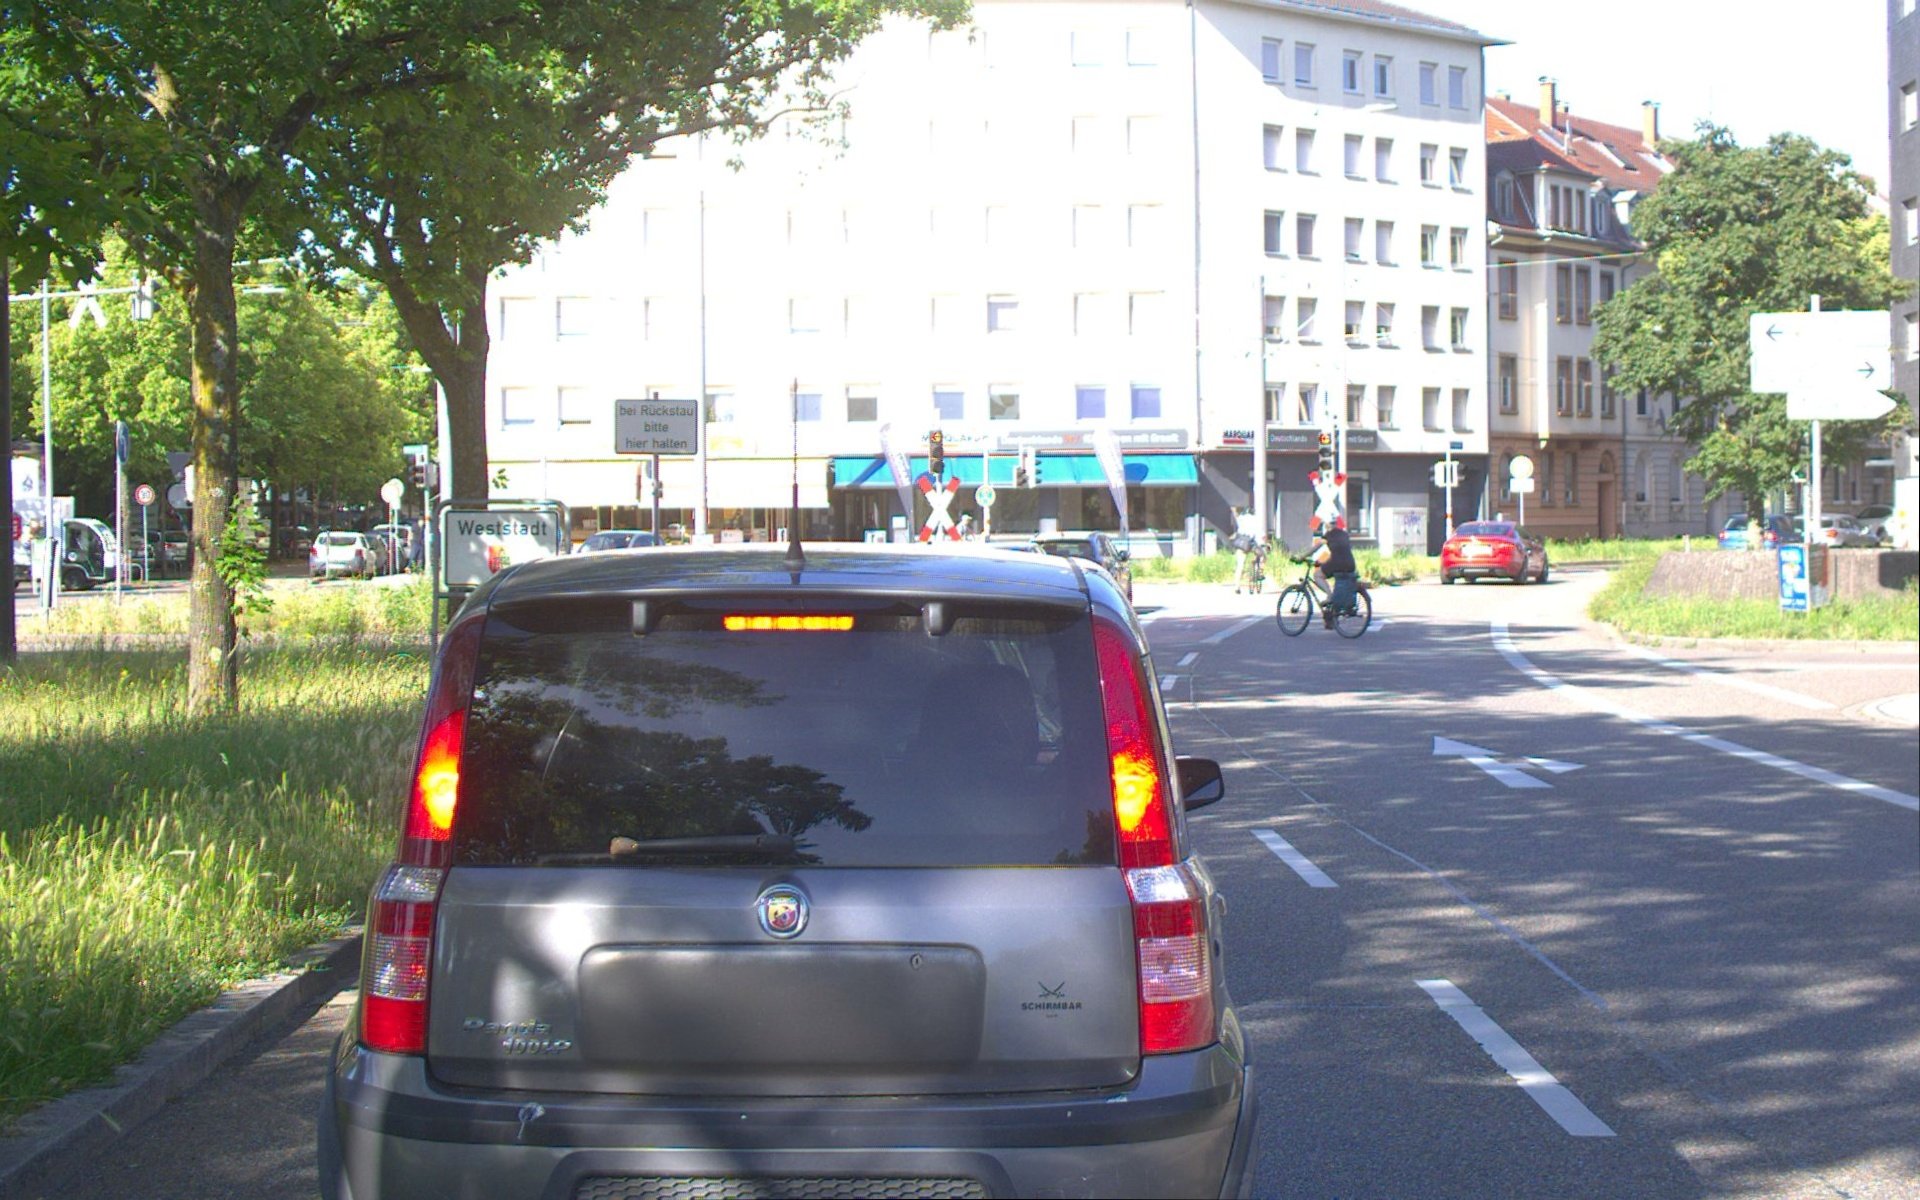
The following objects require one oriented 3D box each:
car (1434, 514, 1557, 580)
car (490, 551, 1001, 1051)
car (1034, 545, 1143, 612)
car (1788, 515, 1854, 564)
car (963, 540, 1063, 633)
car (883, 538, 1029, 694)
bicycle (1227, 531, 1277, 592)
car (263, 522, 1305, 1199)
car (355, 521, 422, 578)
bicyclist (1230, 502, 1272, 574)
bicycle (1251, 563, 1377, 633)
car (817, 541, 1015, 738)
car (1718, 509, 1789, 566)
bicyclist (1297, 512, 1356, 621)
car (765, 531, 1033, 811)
[{"bbox_3d":[12.042,-1.205,77.096,1.889,1.423,4.382,0,1,20],"label":"car"},{"bbox_3d":[-0.639,0.559,11.637,1.463,1.396,3.393,0,1,-1],"label":"car"},{"bbox_3d":[2.171,-0.369,57.667,1.143,1.060,2.719,0,1,17],"label":"car"},{"bbox_3d":[23.554,-1.663,94.017,1.528,1.310,3.285,0,1,18],"label":"car"},{"bbox_3d":[0.749,-0.211,49.599,1.356,1.277,2.876,0,1,-1],"label":"car"},{"bbox_3d":[-0.059,0.122,33.860,1.356,1.444,3.266,-1,1,-1],"label":"car"},{"bbox_3d":[5.905,-0.775,69.578,0.708,1.194,2.520,1,1,-2],"label":"bicycle"},{"bbox_3d":[-0.296,0.597,7.416,1.628,1.503,4.000,-1,1,-1],"label":"car"},{"bbox_3d":[-20.520,-1.842,123.579,1.993,2.007,4.001,-1,1,-4],"label":"car"},{"bbox_3d":[5.884,-1.254,69.614,0.741,1.433,0.845,1,0,-1],"label":"bicyclist"},{"bbox_3d":[4.892,-0.038,47.538,0.558,0.942,1.794,-2,2,-44],"label":"bicycle"},{"bbox_3d":[-0.344,0.268,27.283,1.463,1.420,3.381,0,2,-1],"label":"car"},{"bbox_3d":[20.878,-1.659,90.388,1.683,1.444,3.569,0,1,15],"label":"car"},{"bbox_3d":[5.052,-0.464,47.345,0.549,1.488,0.585,-2,2,-43],"label":"bicyclist"},{"bbox_3d":[-0.357,0.355,20.676,1.463,1.503,3.505,0,2,-1],"label":"car"}]
